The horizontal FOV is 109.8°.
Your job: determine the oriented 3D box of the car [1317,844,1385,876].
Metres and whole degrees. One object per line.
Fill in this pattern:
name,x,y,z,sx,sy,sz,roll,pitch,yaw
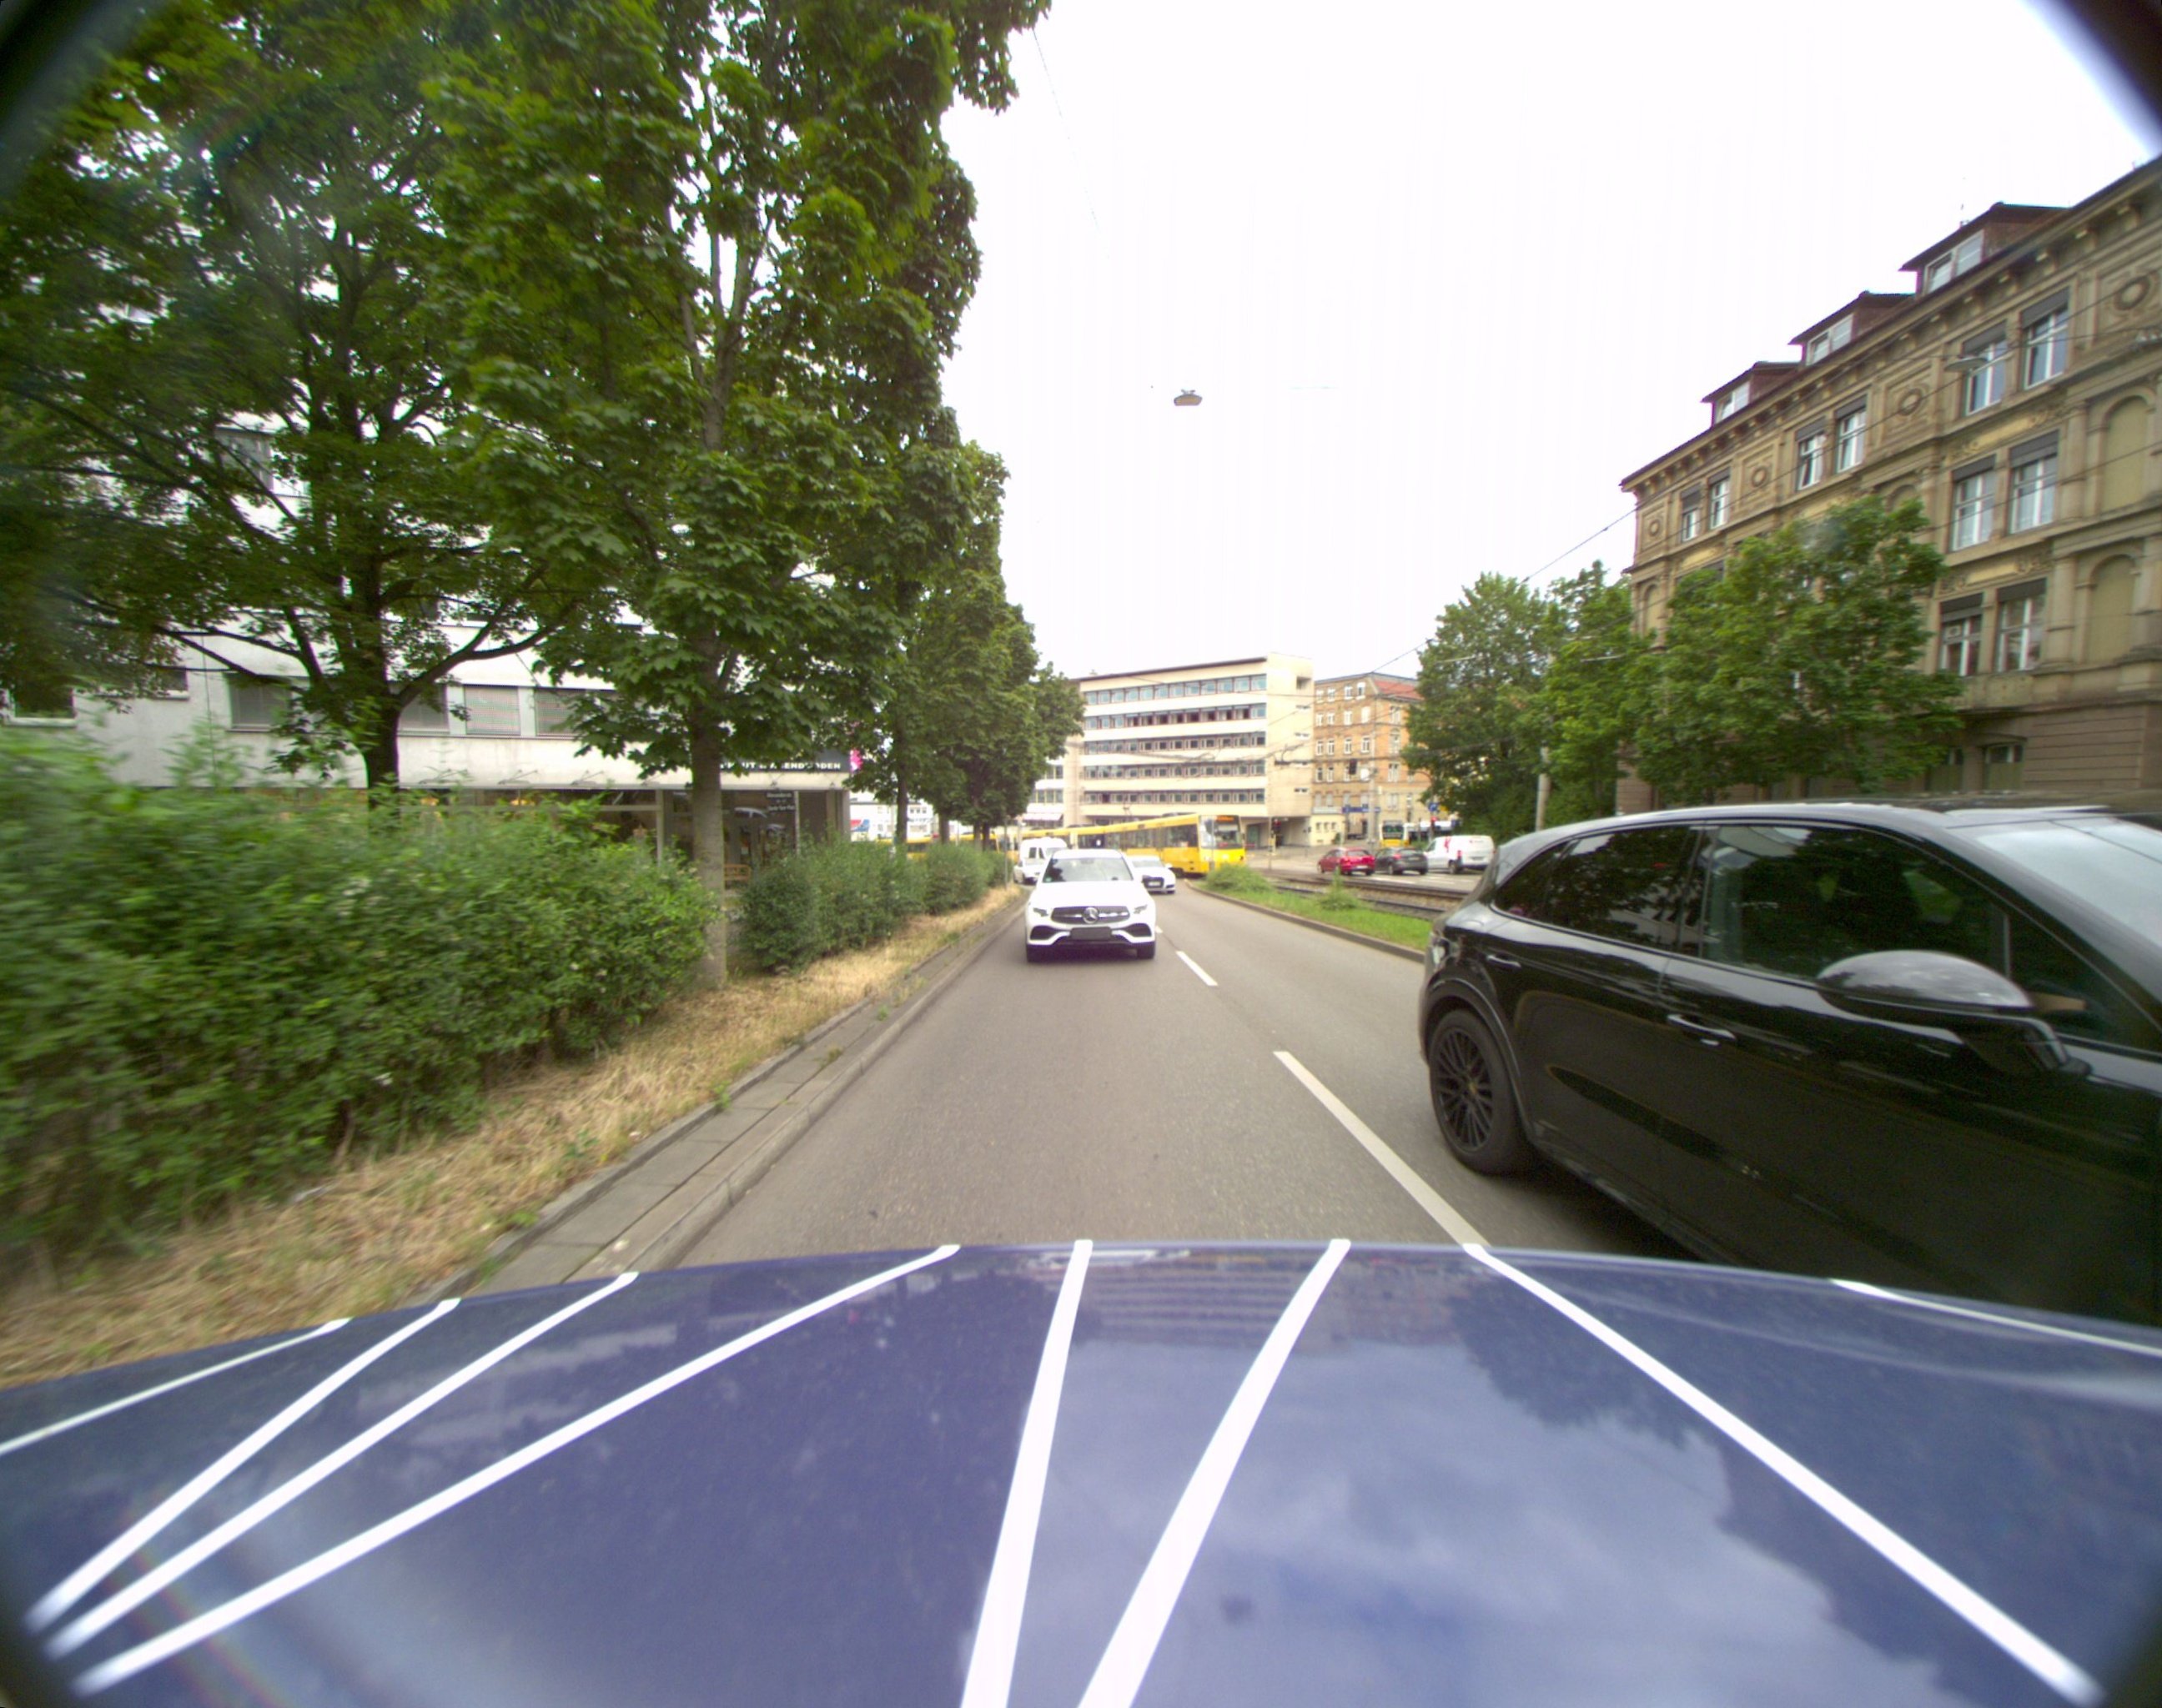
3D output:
car,13.941,0.246,39.497,1.998,1.510,4.405,-1,1,1

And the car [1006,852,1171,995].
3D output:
car,0.201,0.849,11.637,1.934,1.622,4.774,-3,0,3

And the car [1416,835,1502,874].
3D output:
car,19.122,-0.028,38.694,1.998,1.839,4.992,-1,1,1

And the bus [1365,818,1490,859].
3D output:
bus,28.899,-1.321,63.155,11.565,3.012,3.382,-3,1,-31

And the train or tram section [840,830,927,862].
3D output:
train or tram section,-24.492,-0.854,93.302,14.189,3.423,2.895,-1,5,43

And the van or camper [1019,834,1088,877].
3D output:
van or camper,-1.933,0.014,50.786,2.212,2.544,6.359,-5,3,-25

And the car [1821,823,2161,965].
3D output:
car,14.471,0.489,11.595,1.884,1.777,4.516,1,1,-1

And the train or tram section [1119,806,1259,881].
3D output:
train or tram section,5.838,-0.694,45.195,2.892,3.643,14.454,-3,2,-14

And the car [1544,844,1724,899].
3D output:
car,16.444,0.497,22.983,1.824,1.442,4.946,-1,0,0

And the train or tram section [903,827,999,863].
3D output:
train or tram section,-14.527,-0.995,83.306,2.937,3.540,14.188,-6,5,-43

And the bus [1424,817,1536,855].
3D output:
bus,35.301,-1.626,66.996,11.379,3.026,3.316,-3,1,-31

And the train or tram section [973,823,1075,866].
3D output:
train or tram section,-5.768,-0.909,72.074,2.895,3.644,14.192,-5,3,-34

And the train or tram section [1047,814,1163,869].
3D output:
train or tram section,1.408,-0.973,58.810,2.894,3.643,14.199,-3,2,-24

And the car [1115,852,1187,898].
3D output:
car,2.652,0.751,29.780,1.898,1.467,4.527,-3,2,-6

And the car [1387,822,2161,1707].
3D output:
car,2.711,0.775,1.796,2.033,1.675,4.779,-1,2,0

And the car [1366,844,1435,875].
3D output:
car,16.395,0.223,39.242,1.747,1.419,4.405,-2,1,1
